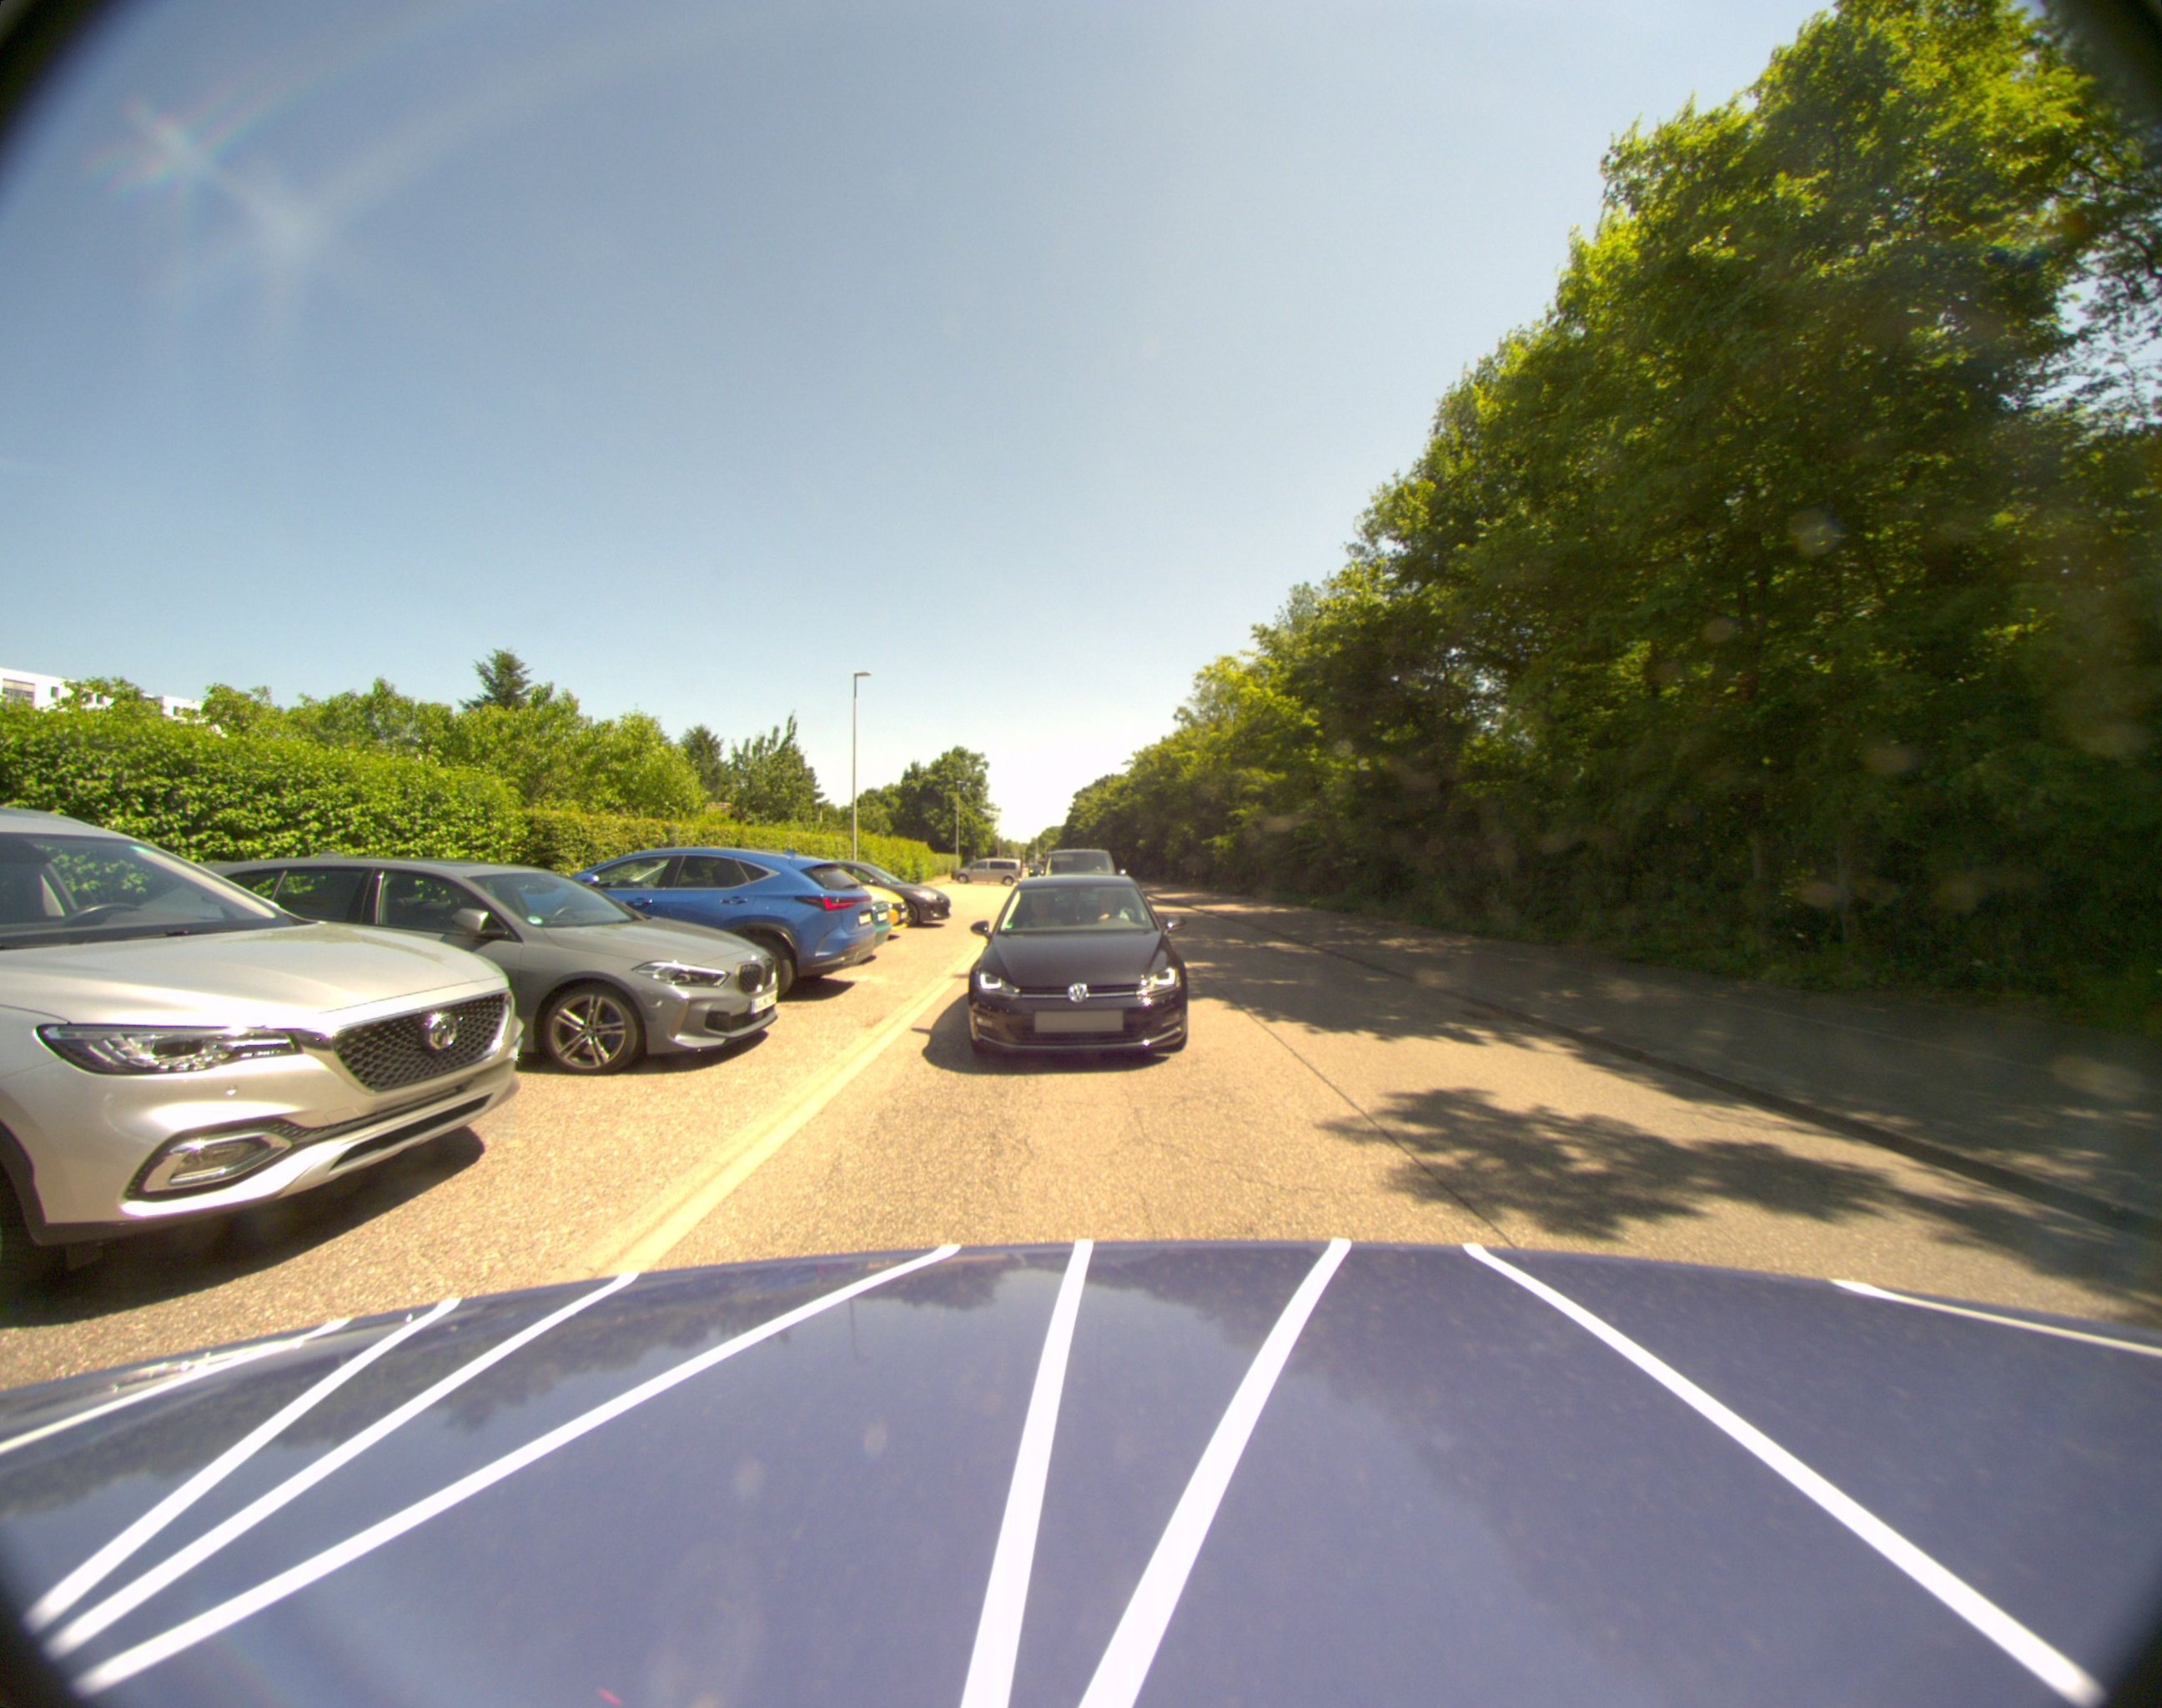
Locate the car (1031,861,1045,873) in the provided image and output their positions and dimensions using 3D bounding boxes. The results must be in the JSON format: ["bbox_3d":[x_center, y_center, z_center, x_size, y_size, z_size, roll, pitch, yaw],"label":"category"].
[{"bbox_3d":[-5.413,1.660,95.487,1.744,1.396,4.386,1,0,-4],"label":"car"}]

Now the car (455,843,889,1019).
[{"bbox_3d":[-4.505,0.809,8.801,4.036,1.632,1.674,3,0,0],"label":"car"}]

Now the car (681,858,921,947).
[{"bbox_3d":[-5.384,0.910,14.949,4.036,1.438,1.649,3,0,0],"label":"car"}]

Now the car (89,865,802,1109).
[{"bbox_3d":[-4.533,0.904,5.898,4.036,1.401,1.679,3,0,-1],"label":"car"}]

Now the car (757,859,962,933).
[{"bbox_3d":[-5.099,0.948,17.858,4.251,1.410,1.649,3,0,0],"label":"car"}]

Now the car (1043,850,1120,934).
[{"bbox_3d":[-0.011,0.893,19.555,1.743,1.904,4.388,-1,0,0],"label":"car"}]

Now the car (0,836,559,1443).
[{"bbox_3d":[-4.806,0.762,2.994,4.170,1.632,1.775,3,0,-2],"label":"car"}]

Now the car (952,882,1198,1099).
[{"bbox_3d":[-0.056,1.057,7.621,1.743,1.396,4.388,-1,0,0],"label":"car"}]

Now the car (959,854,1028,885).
[{"bbox_3d":[-5.901,1.059,51.495,4.493,1.840,1.695,3,0,-4],"label":"car"}]

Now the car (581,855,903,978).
[{"bbox_3d":[-4.939,0.876,11.459,4.036,1.505,1.649,3,0,0],"label":"car"}]
